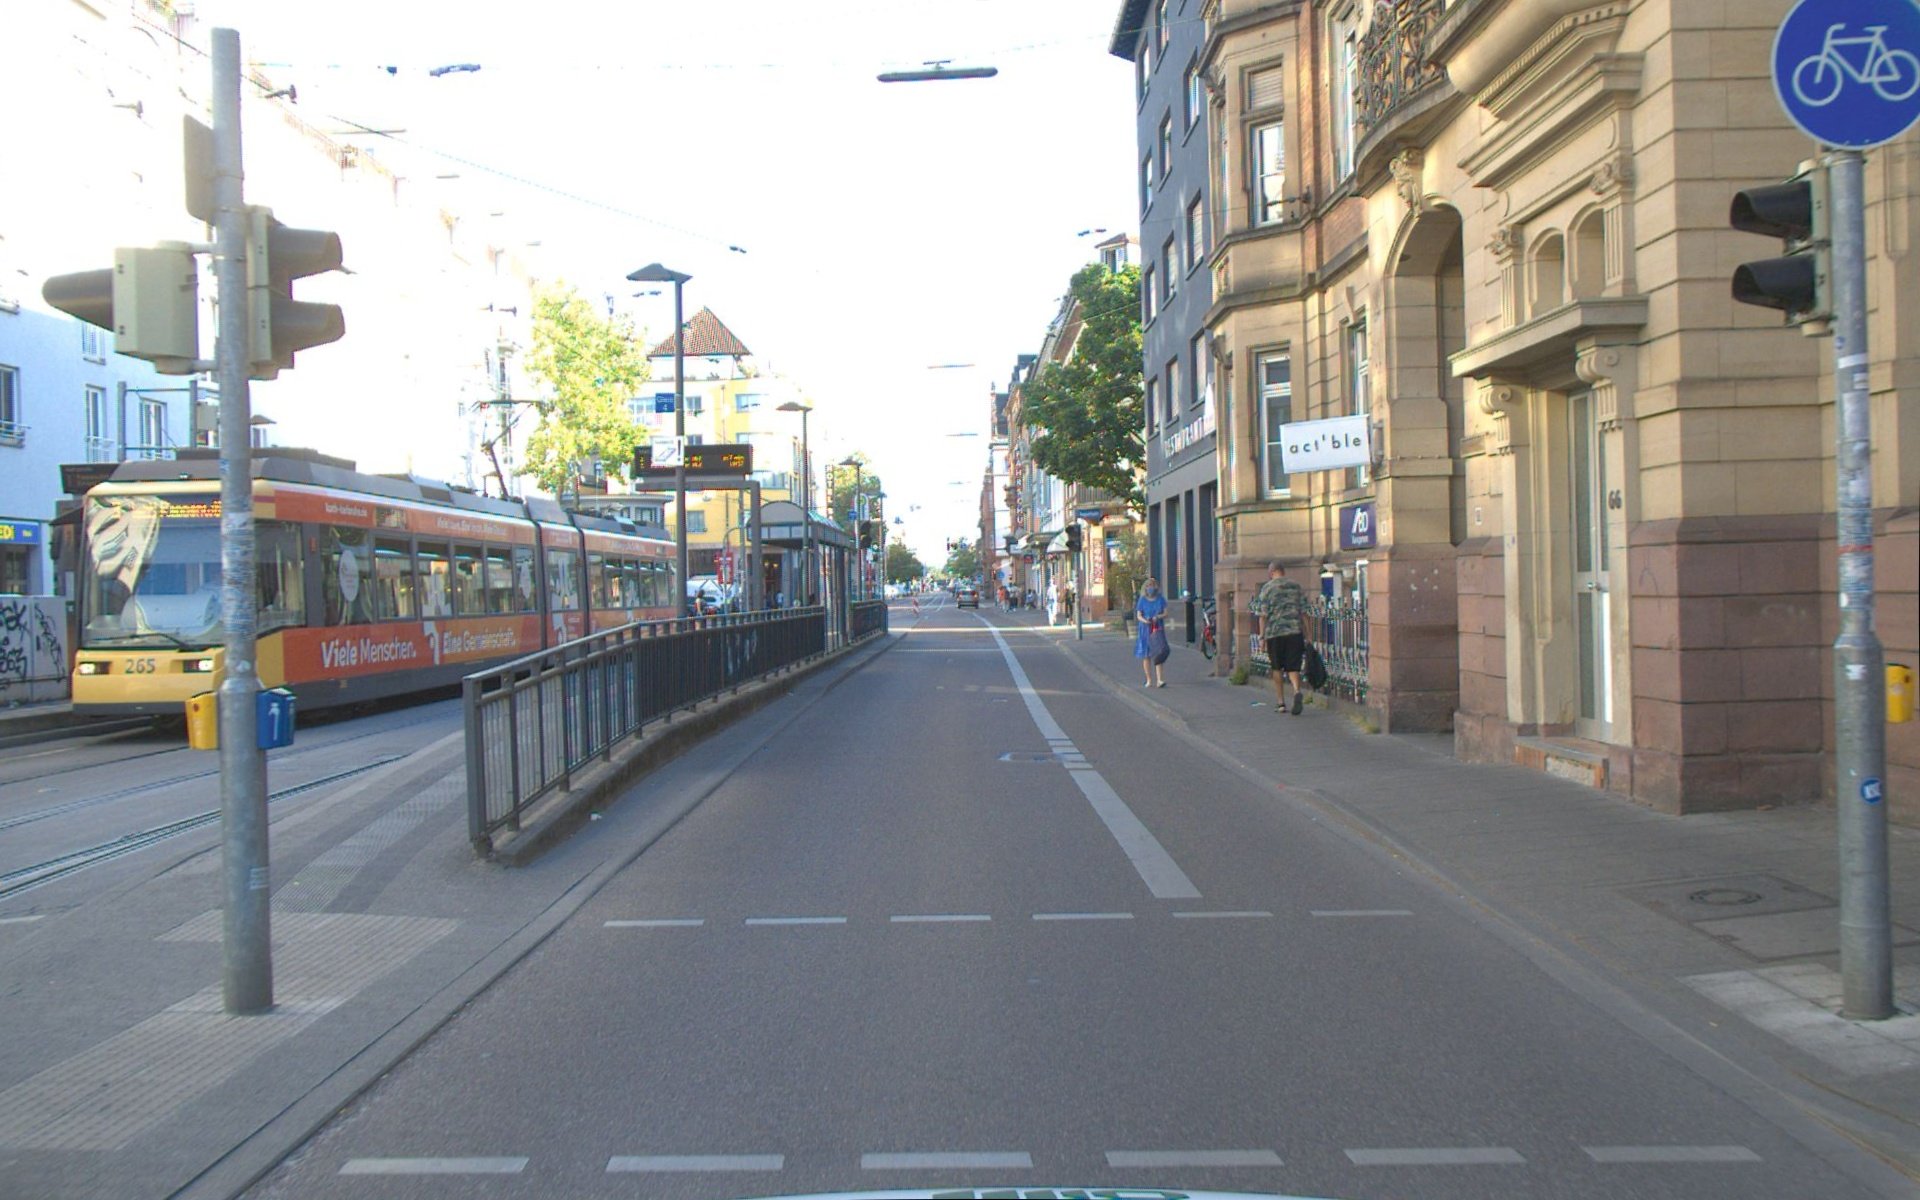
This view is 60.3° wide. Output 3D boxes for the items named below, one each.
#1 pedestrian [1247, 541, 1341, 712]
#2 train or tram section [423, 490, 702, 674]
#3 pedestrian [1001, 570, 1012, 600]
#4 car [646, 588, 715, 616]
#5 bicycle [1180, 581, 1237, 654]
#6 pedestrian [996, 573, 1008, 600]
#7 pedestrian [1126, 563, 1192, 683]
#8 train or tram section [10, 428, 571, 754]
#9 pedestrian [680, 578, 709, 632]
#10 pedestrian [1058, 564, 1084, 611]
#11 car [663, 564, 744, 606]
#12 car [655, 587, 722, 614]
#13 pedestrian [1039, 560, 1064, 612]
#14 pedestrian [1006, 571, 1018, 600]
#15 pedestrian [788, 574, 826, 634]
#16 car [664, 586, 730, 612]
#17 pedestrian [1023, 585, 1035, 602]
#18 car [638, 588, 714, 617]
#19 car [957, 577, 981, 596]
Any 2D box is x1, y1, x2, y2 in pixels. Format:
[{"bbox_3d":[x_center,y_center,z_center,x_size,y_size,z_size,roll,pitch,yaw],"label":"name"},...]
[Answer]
[{"bbox_3d":[3.821,0.284,18.977,0.784,1.855,0.797,-4,2,-1],"label":"pedestrian"},{"bbox_3d":[-9.007,-0.512,40.141,2.826,3.550,14.954,-2,1,1],"label":"train or tram section"},{"bbox_3d":[2.904,-0.941,104.037,0.548,1.827,0.651,-2,1,6],"label":"pedestrian"},{"bbox_3d":[-17.379,0.097,102.972,3.905,1.536,1.800,-2,2,0],"label":"car"},{"bbox_3d":[4.603,0.309,30.748,0.611,1.218,1.907,-5,2,-2],"label":"bicycle"},{"bbox_3d":[3.126,-1.028,123.114,0.826,1.951,0.661,-3,1,-2],"label":"pedestrian"},{"bbox_3d":[2.946,0.324,24.536,0.747,1.673,0.832,-4,2,-1],"label":"pedestrian"},{"bbox_3d":[-9.145,-0.242,25.573,2.826,3.550,14.168,-2,1,0],"label":"train or tram section"},{"bbox_3d":[-8.876,0.163,55.309,0.852,1.744,0.787,-1,2,-3],"label":"pedestrian"},{"bbox_3d":[4.055,-0.461,60.501,0.699,1.629,0.773,-5,2,-3],"label":"pedestrian"},{"bbox_3d":[-17.136,-1.007,110.644,5.001,2.620,2.129,-2,1,0],"label":"car"},{"bbox_3d":[-17.286,0.015,105.553,3.905,1.536,1.800,-2,2,0],"label":"car"},{"bbox_3d":[3.331,-0.517,60.317,0.699,1.804,0.773,-5,2,-3],"label":"pedestrian"},{"bbox_3d":[3.339,-0.947,106.217,0.635,1.827,0.562,-3,1,4],"label":"pedestrian"},{"bbox_3d":[-3.146,0.074,34.079,0.671,1.196,0.537,-3,1,1],"label":"pedestrian"},{"bbox_3d":[-17.163,-0.080,108.084,3.905,1.536,1.800,-2,2,0],"label":"car"},{"bbox_3d":[4.424,-0.425,106.346,0.676,1.061,0.681,-3,1,4],"label":"pedestrian"},{"bbox_3d":[-17.178,0.166,100.179,4.231,1.536,1.800,-2,2,0],"label":"car"},{"bbox_3d":[0.755,-1.147,141.155,1.953,1.474,4.000,-2,2,0],"label":"car"}]
